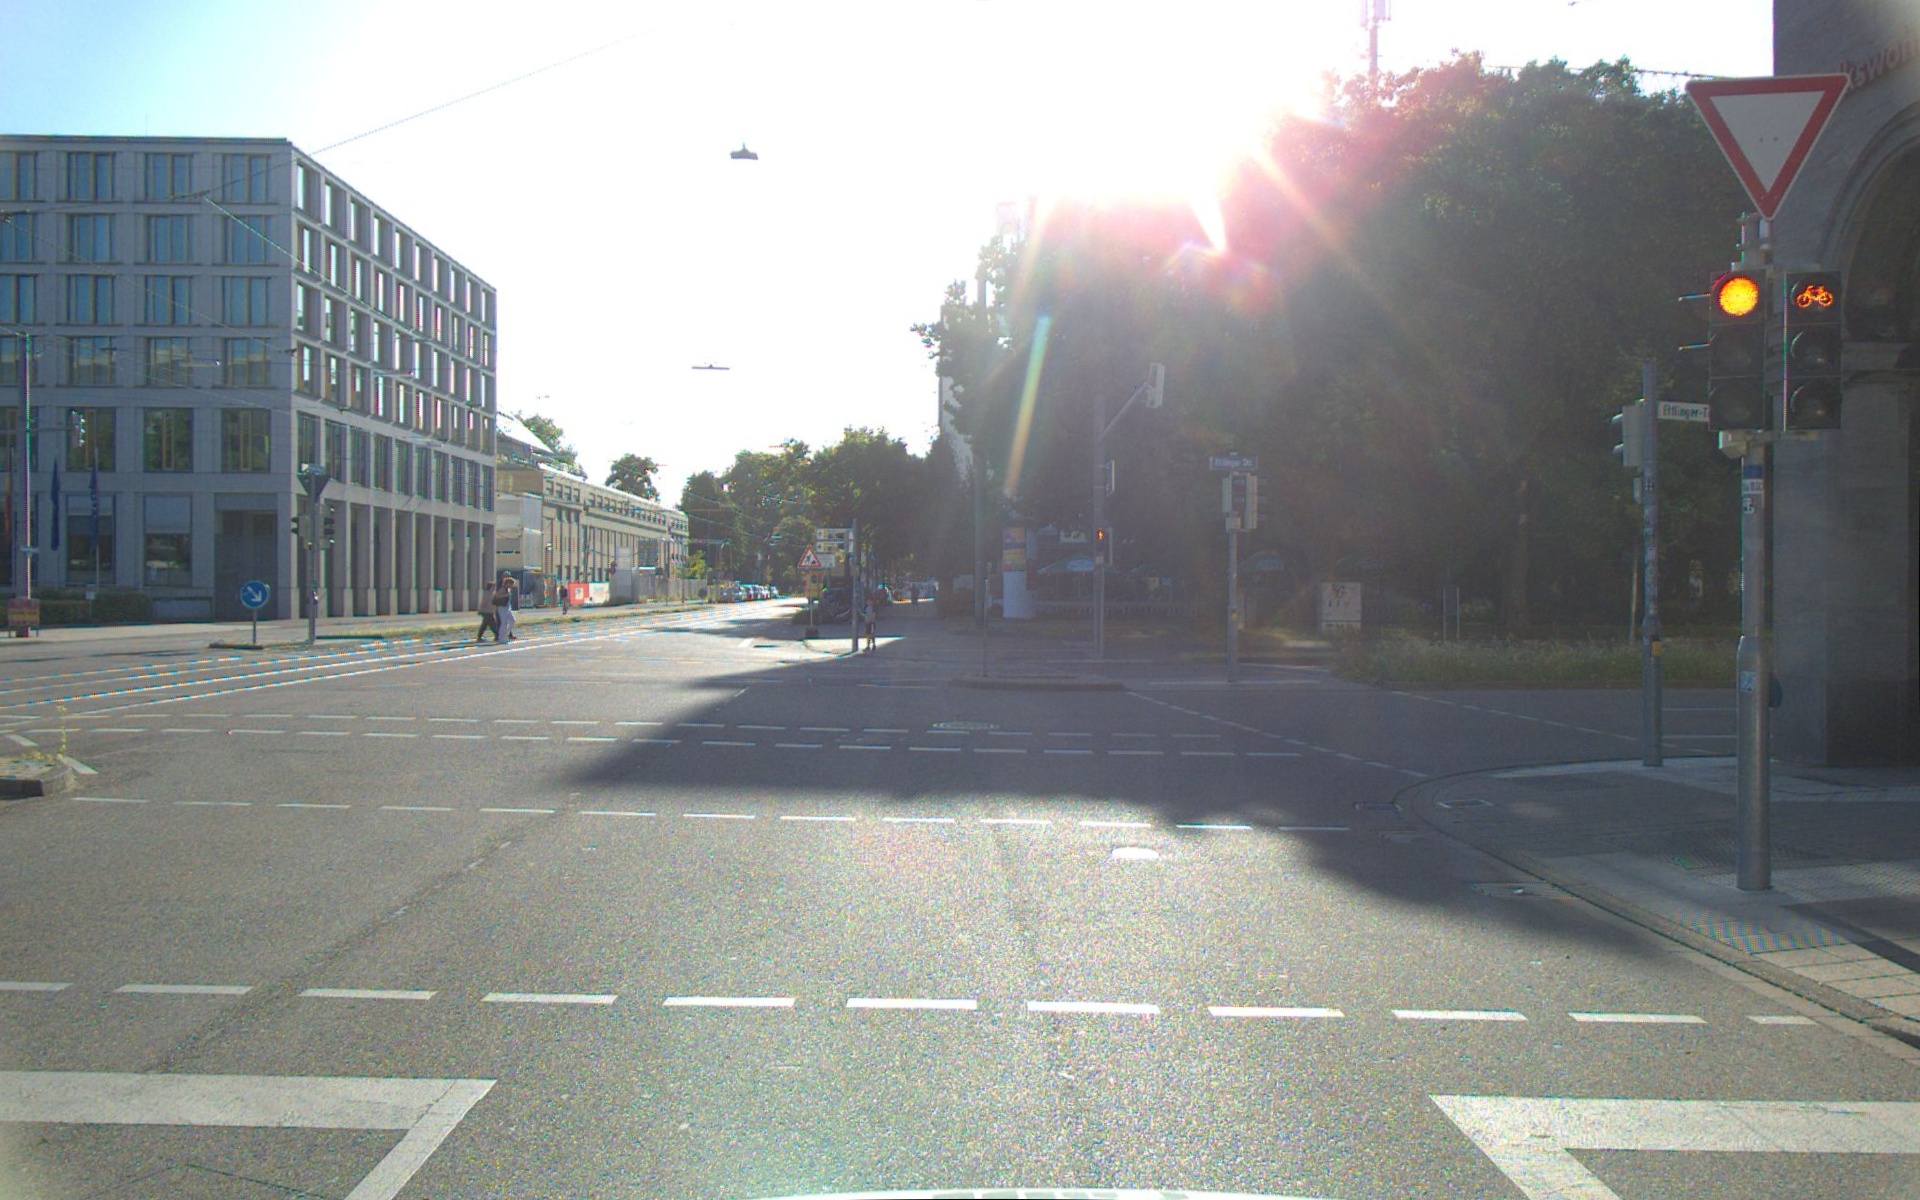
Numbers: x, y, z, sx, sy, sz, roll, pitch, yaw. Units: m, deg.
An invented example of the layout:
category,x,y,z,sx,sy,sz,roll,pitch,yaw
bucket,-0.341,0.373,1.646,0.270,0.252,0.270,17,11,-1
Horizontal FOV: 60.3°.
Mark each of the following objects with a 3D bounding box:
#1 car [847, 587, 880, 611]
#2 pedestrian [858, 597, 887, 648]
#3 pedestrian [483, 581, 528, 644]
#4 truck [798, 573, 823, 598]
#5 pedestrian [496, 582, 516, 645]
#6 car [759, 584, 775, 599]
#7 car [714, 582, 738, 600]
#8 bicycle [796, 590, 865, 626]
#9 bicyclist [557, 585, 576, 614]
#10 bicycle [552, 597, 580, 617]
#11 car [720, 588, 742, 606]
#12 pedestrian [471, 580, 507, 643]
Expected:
category,x,y,z,sx,sy,sz,roll,pitch,yaw
car,-5.342,-0.067,91.715,1.783,1.301,3.998,0,0,-3
pedestrian,-2.349,0.595,44.372,0.737,1.356,0.742,0,0,0
pedestrian,-11.771,0.319,42.819,0.964,1.615,0.660,0,-1,1
truck,-13.098,-1.281,145.449,1.876,2.129,3.999,0,0,-1
pedestrian,-12.252,0.366,44.647,0.432,1.692,0.376,0,0,-2
car,-22.657,-0.993,193.923,1.453,1.780,3.999,0,0,-1
car,-21.999,-0.835,155.644,1.695,1.682,3.999,0,0,-1
bicycle,-5.233,0.326,67.051,2.688,1.391,0.631,1,-1,10
bicyclist,-22.439,-0.031,94.298,0.857,1.670,0.822,0,0,0
bicycle,-22.436,0.380,94.294,0.857,1.140,3.013,0,0,0
car,-22.098,-0.275,159.684,1.695,1.682,3.999,0,0,-1
pedestrian,-12.440,0.303,43.705,0.779,1.668,0.533,0,0,2
